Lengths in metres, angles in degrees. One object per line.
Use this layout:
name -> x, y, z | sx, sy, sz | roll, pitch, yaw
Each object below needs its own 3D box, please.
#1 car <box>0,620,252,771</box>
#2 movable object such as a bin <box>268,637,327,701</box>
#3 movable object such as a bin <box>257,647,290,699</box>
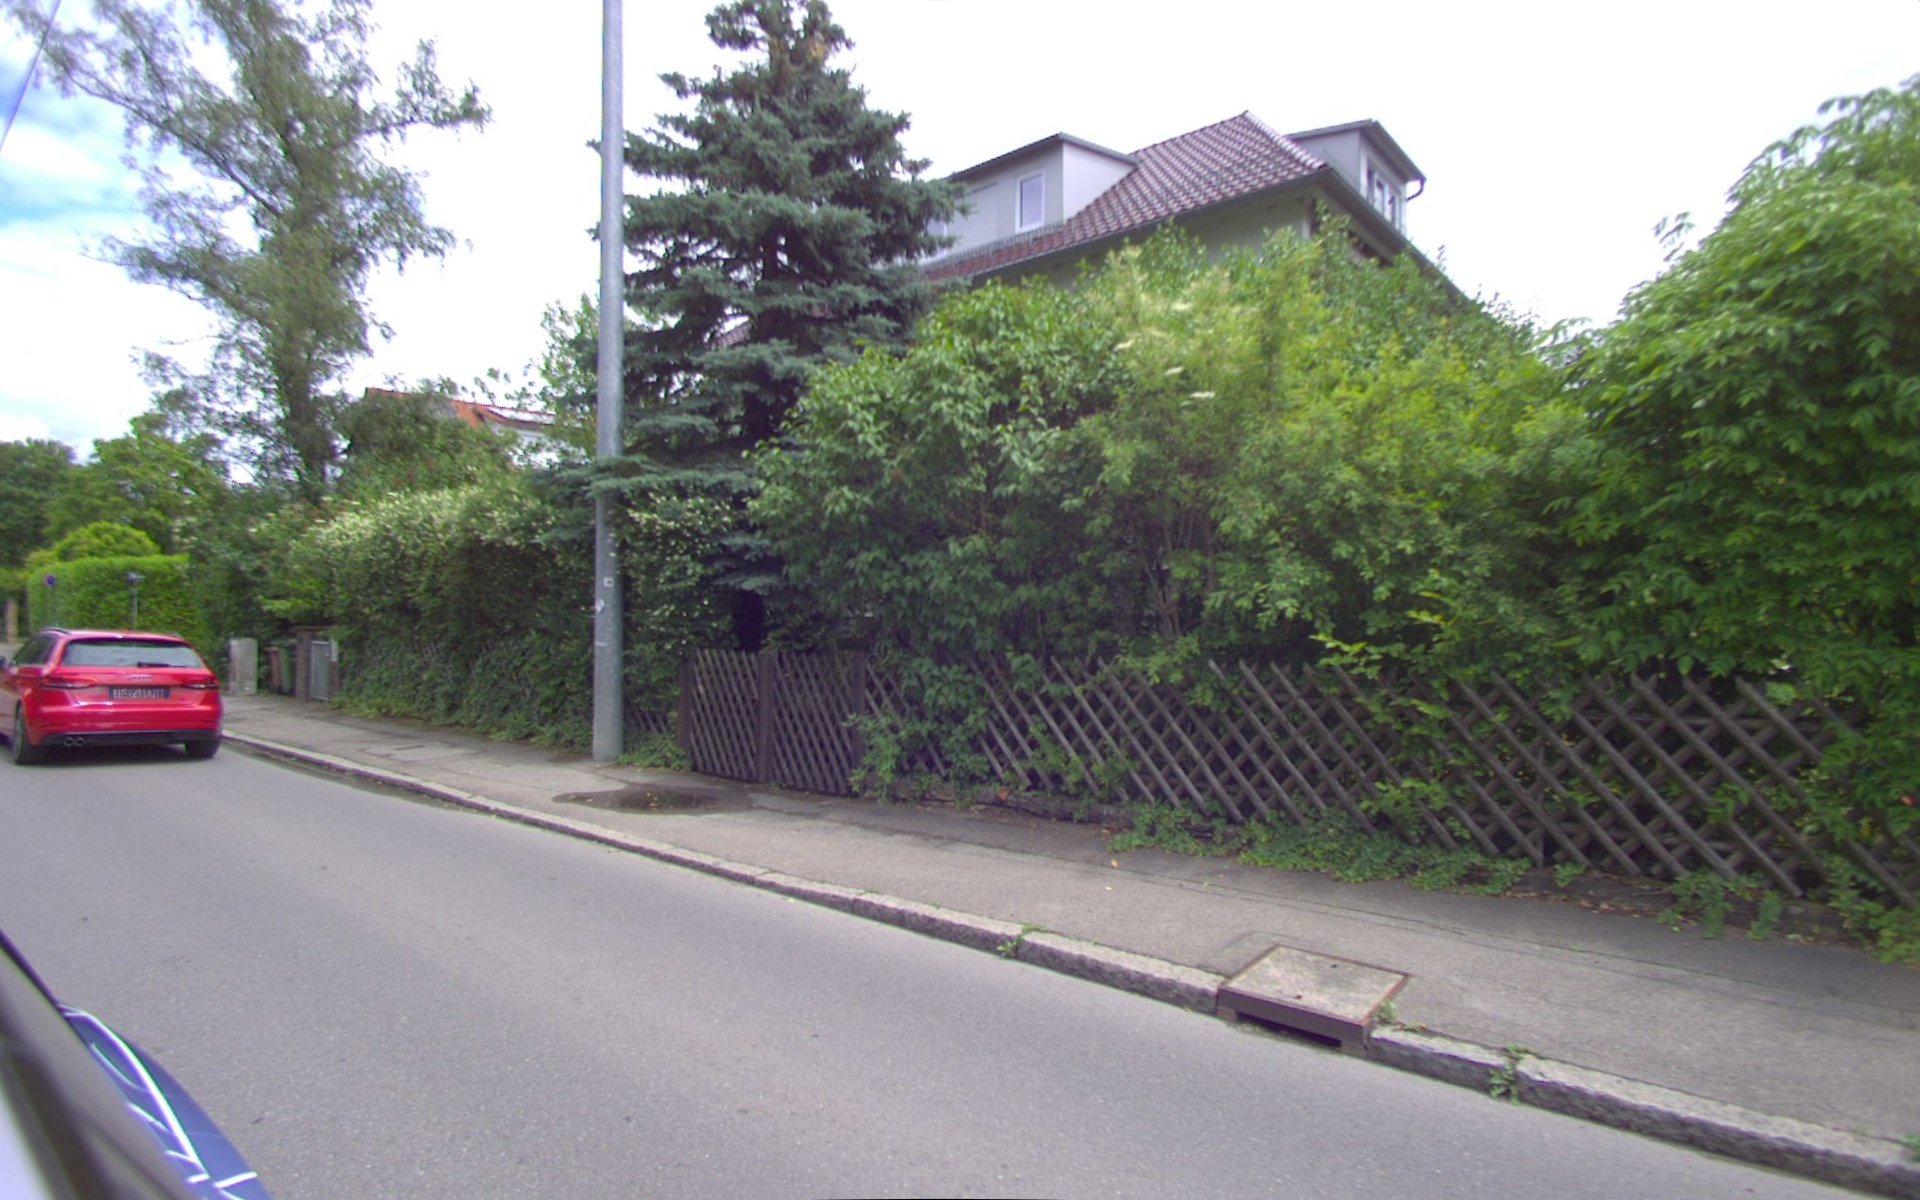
car -> -9.929, 0.999, 11.687 | 4.115, 1.442, 1.787 | -1, -5, 40
movable object such as a bin -> -12.595, 1.291, 19.250 | 0.722, 1.134, 0.721 | -1, 1, 38
movable object such as a bin -> -13.218, 1.404, 19.491 | 0.511, 0.958, 0.375 | -1, 1, 38
